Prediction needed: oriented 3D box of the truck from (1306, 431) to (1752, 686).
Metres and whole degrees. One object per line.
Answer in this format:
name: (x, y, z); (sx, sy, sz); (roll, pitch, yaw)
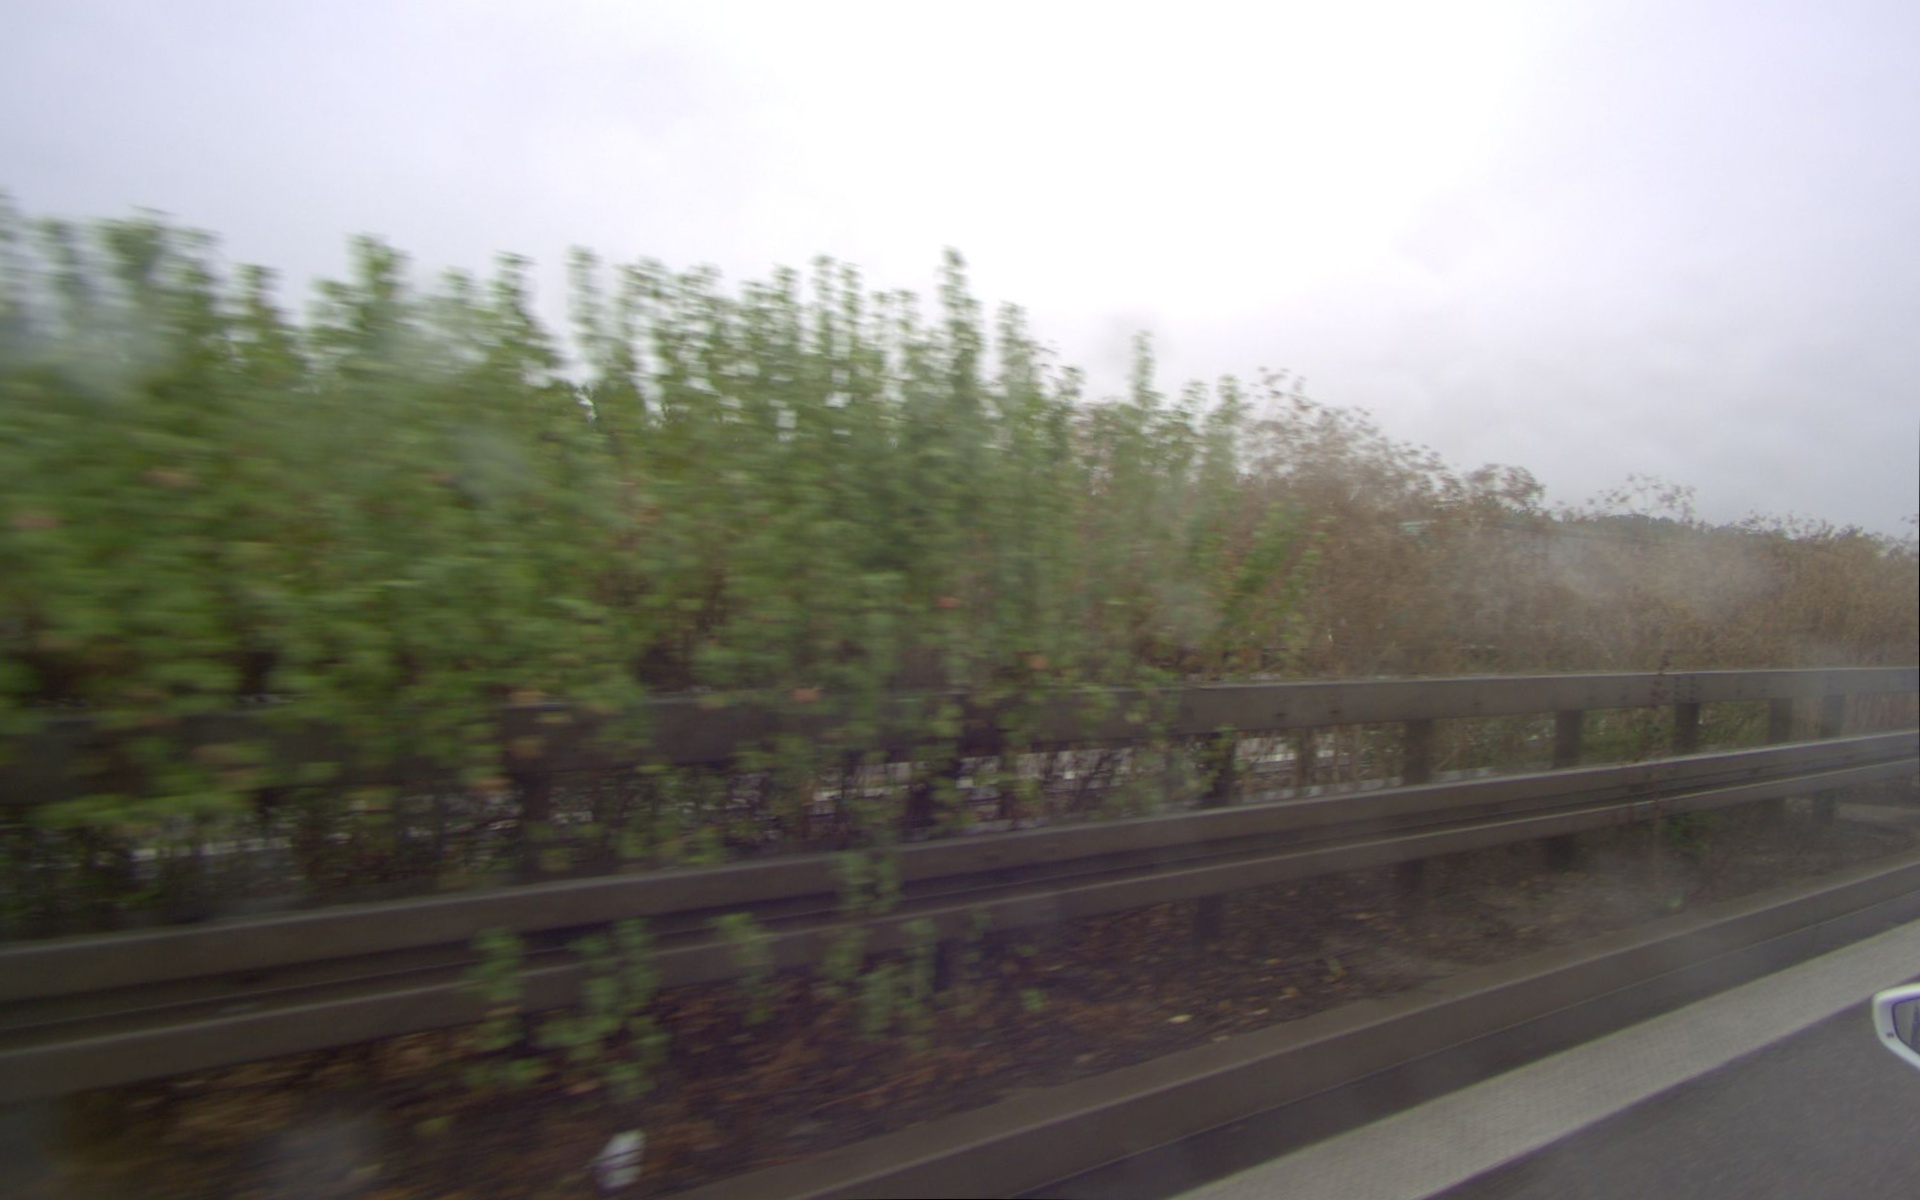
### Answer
truck: (17.567, -0.866, 30.177); (15.810, 6.207, 4.094); (1, 0, -30)
